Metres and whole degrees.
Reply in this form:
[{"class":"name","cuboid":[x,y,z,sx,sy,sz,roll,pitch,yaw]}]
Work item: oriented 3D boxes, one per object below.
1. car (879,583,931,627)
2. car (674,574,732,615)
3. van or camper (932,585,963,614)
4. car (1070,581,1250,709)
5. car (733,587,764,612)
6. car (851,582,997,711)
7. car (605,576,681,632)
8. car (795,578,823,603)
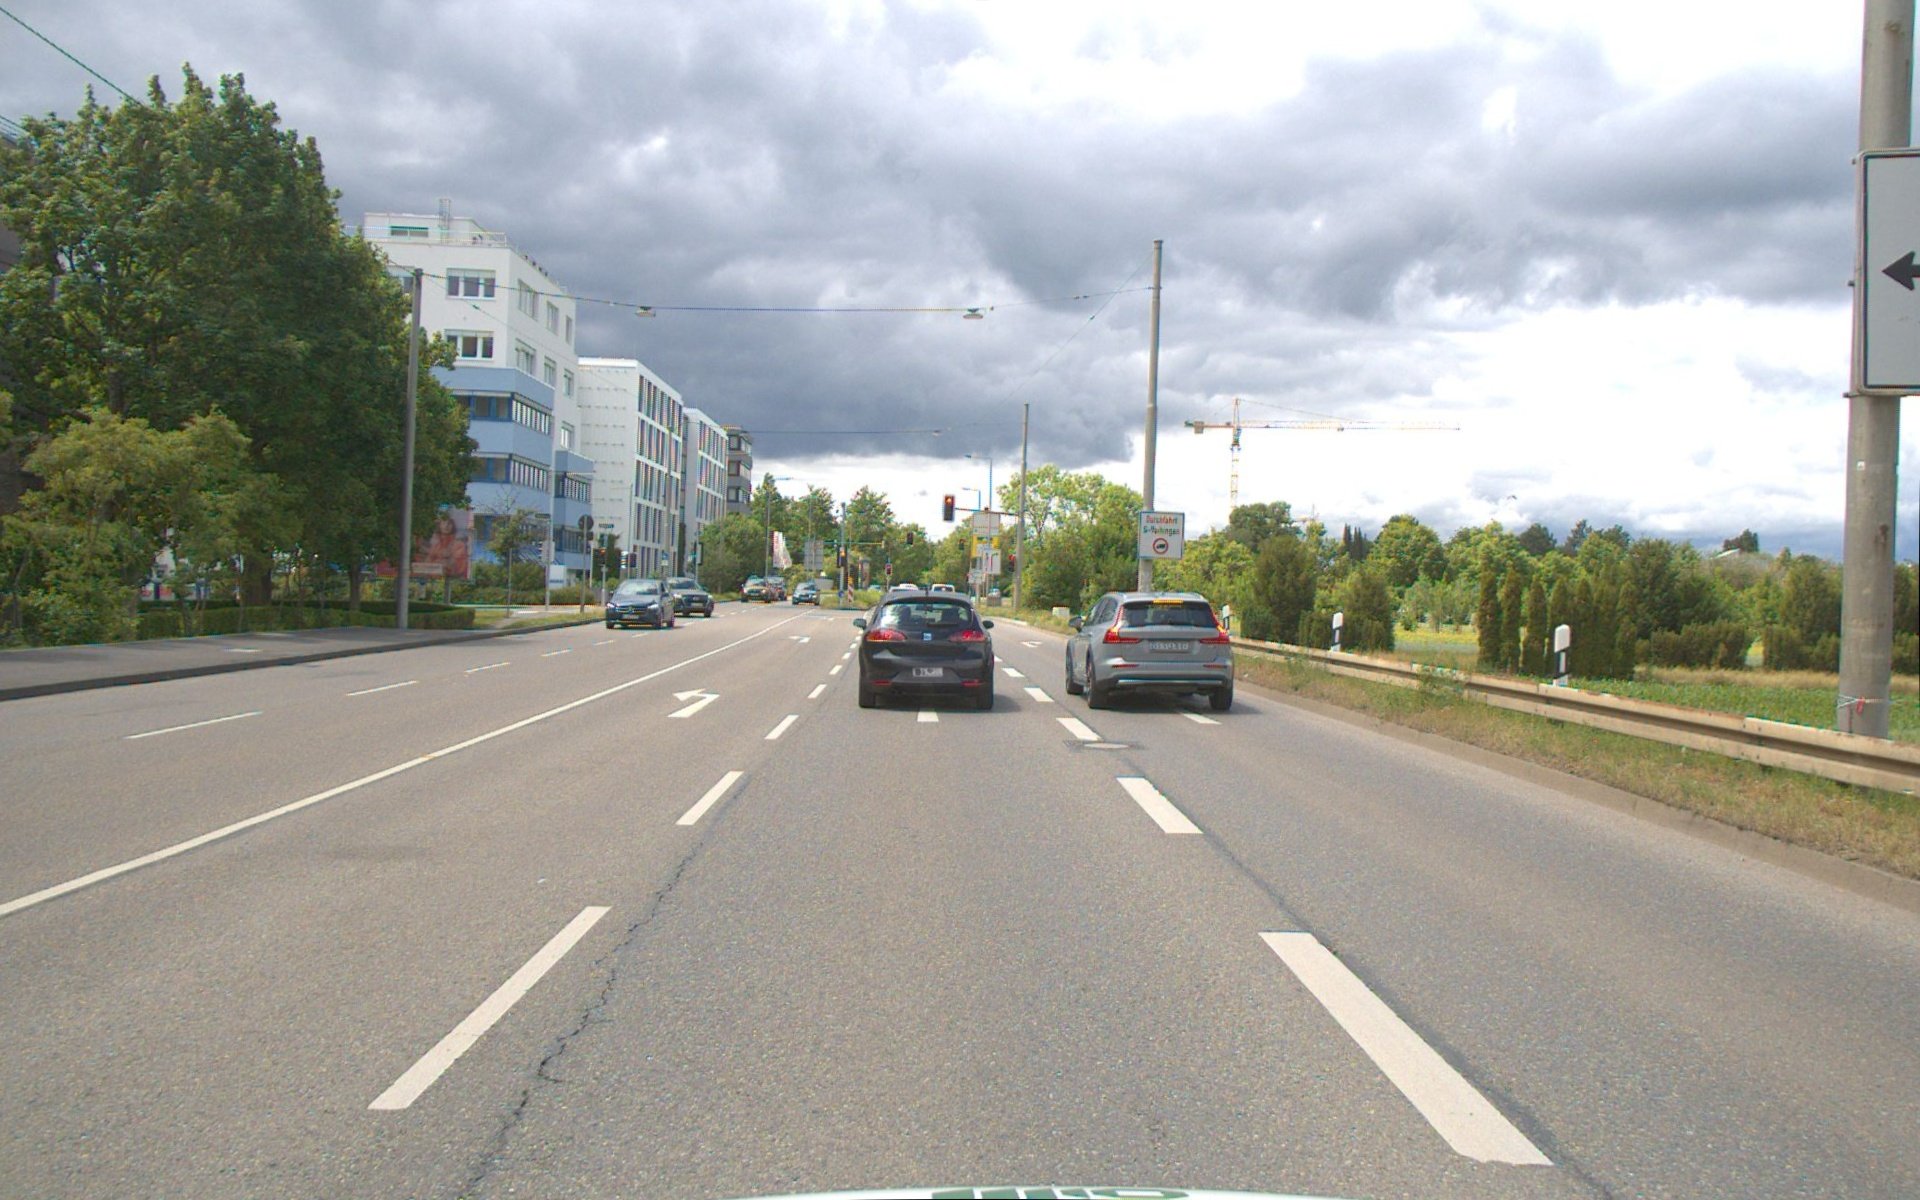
[{"class":"car","cuboid":[-2.286,0.165,68.009,1.944,1.618,4.223,2,1,-4]},{"class":"car","cuboid":[-10.879,-0.228,70.225,1.830,1.643,4.570,2,0,-1]},{"class":"van or camper","cuboid":[-0.950,-0.052,121.928,1.862,1.959,3.996,3,0,-5]},{"class":"car","cuboid":[2.582,0.558,22.341,1.918,1.552,4.340,0,0,0]},{"class":"car","cuboid":[-14.066,-0.030,110.046,1.716,1.659,3.998,0,0,-3]},{"class":"car","cuboid":[-0.424,0.566,21.891,1.712,1.510,4.000,1,0,0]},{"class":"car","cuboid":[-10.253,0.121,53.821,1.761,1.612,4.310,5,0,-3]},{"class":"car","cuboid":[-9.939,-0.644,109.034,1.635,1.551,4.006,0,2,-3]}]
